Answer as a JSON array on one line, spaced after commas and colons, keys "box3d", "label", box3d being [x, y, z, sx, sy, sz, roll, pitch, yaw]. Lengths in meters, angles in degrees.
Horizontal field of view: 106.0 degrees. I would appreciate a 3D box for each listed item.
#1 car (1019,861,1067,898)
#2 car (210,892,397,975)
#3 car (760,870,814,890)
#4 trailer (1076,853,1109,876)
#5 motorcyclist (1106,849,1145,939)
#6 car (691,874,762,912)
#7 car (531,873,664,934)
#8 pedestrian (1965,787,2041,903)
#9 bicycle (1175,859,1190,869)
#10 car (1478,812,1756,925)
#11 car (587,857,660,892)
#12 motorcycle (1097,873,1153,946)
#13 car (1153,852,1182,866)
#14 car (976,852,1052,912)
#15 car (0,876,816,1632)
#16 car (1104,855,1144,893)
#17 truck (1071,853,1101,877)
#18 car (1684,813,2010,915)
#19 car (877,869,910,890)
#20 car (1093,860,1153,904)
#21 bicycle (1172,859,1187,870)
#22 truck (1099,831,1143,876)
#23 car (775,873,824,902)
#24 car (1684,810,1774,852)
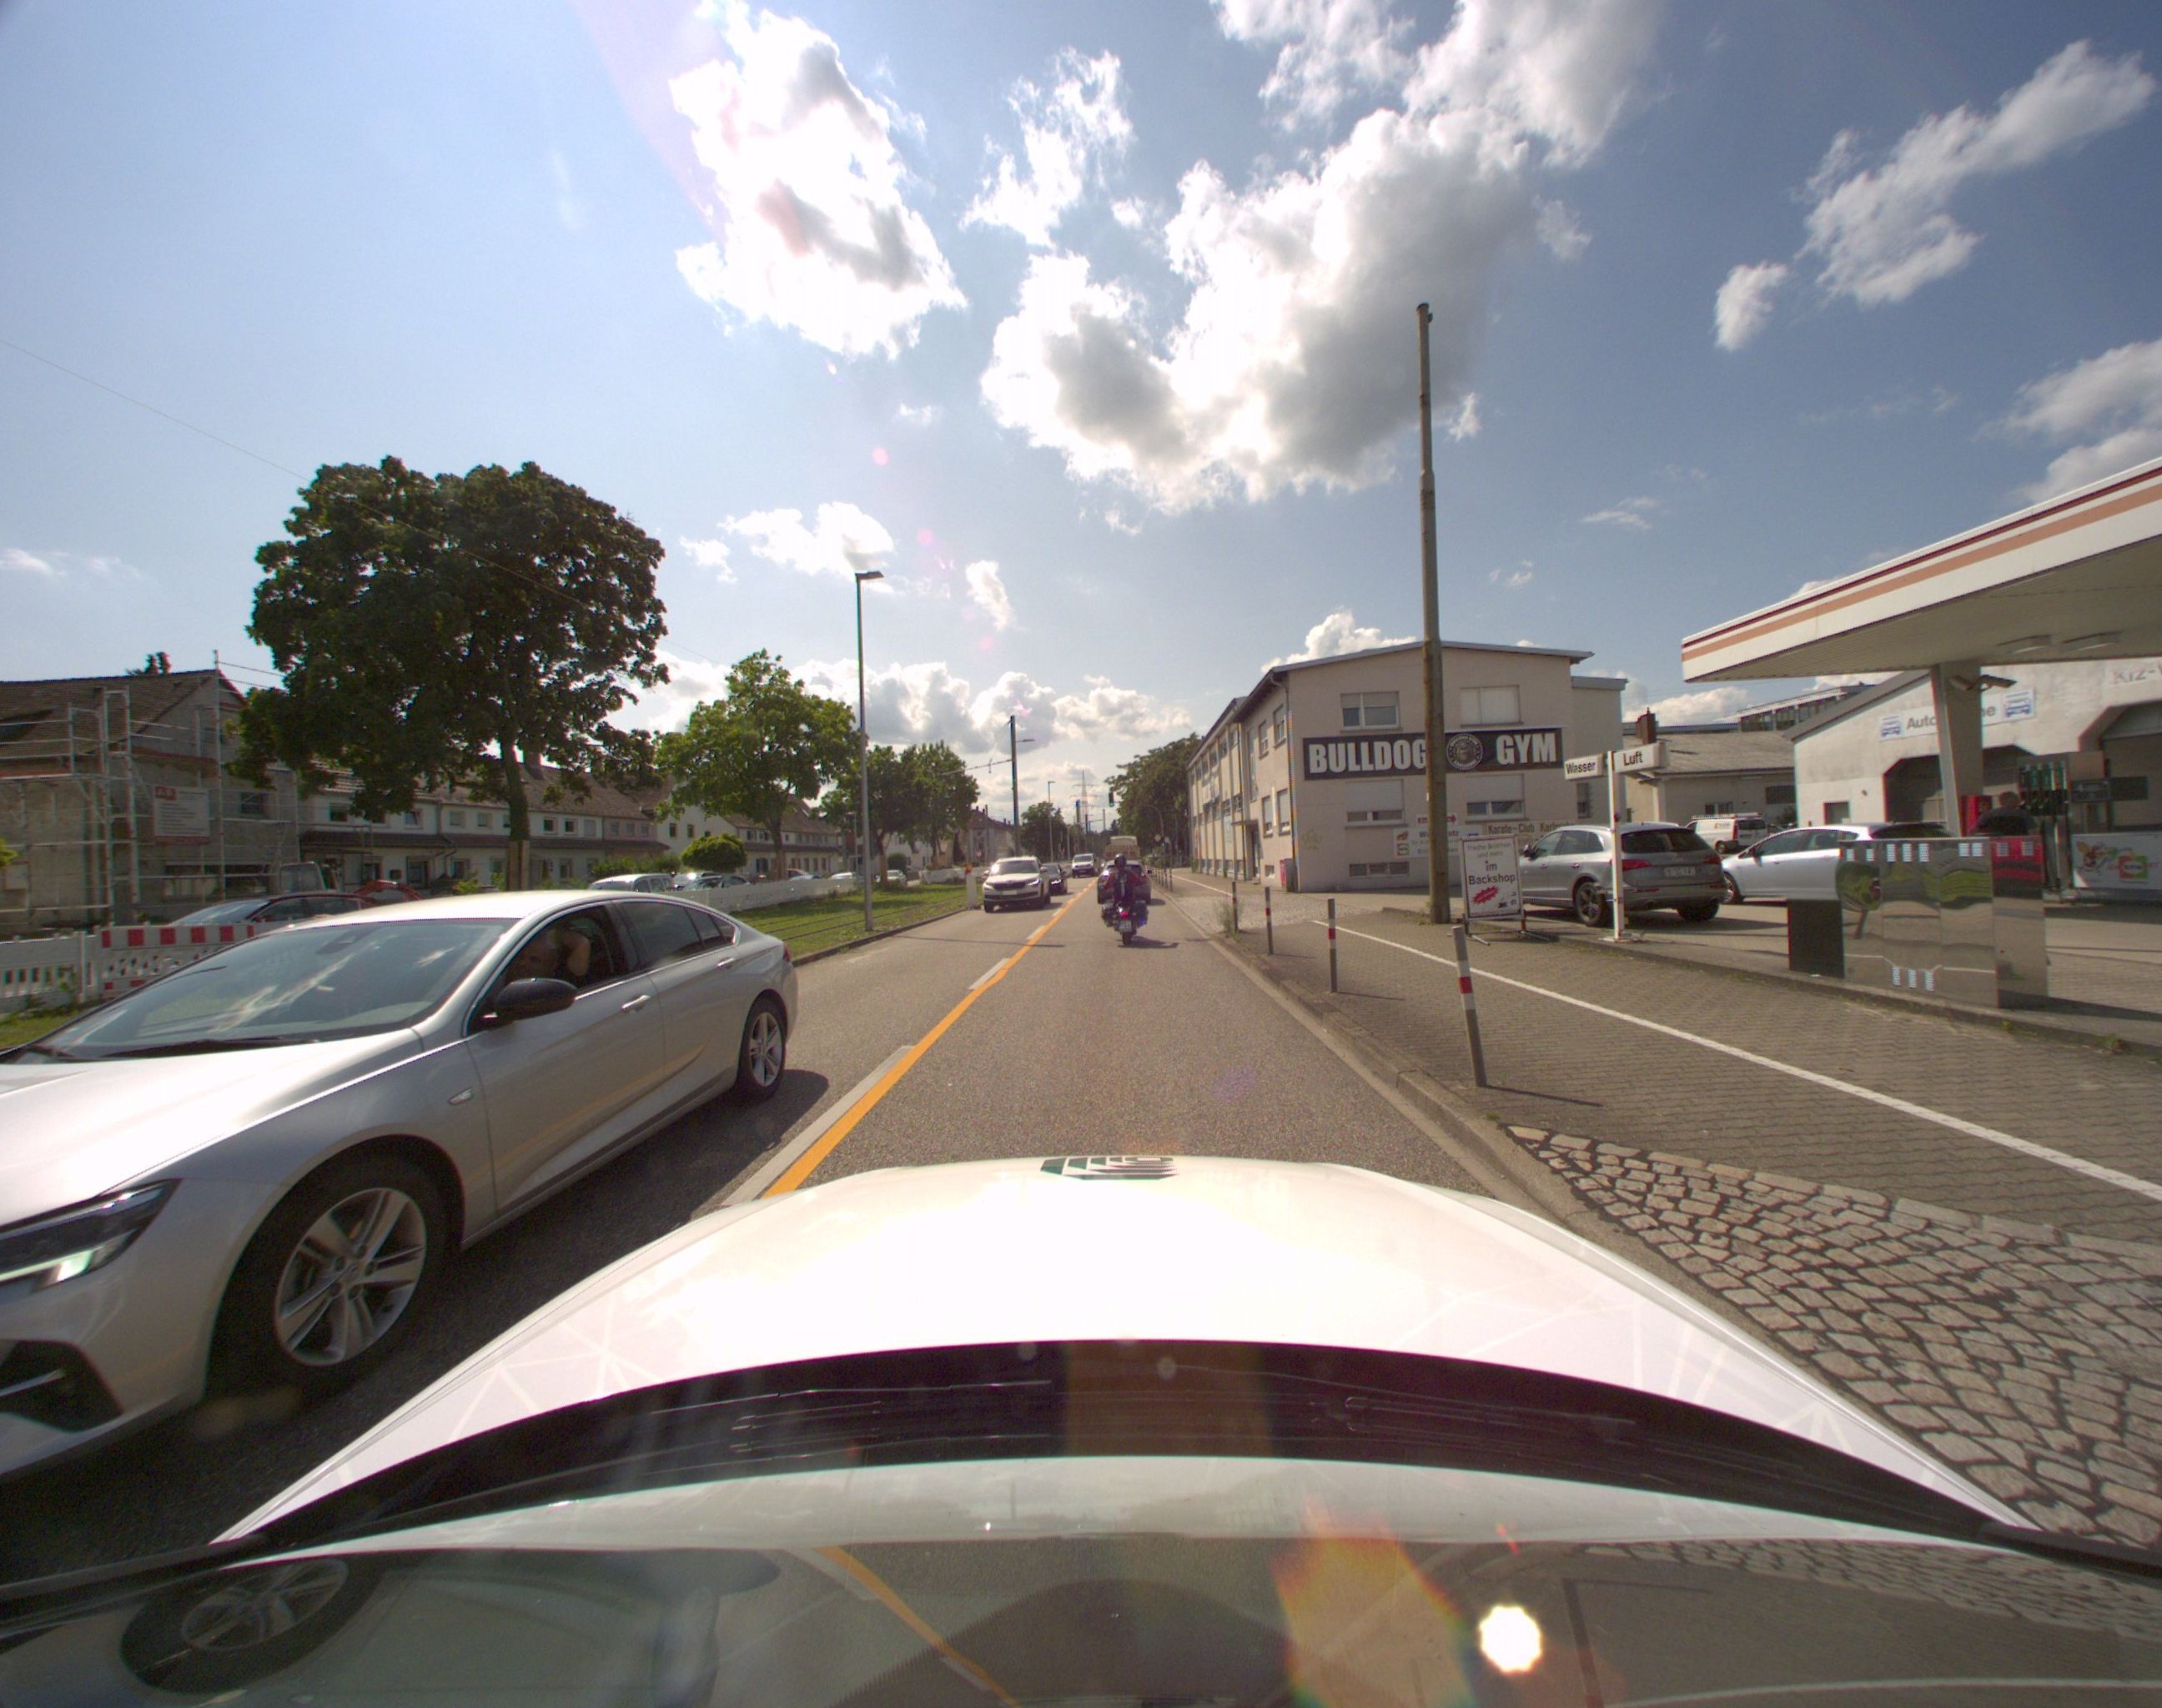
[{"box3d": [-1.650, 1.123, 36.540, 1.686, 1.412, 3.861, -6, -1, 2], "label": "car"}, {"box3d": [-14.955, 1.489, 15.802, 1.067, 1.348, 2.453, -4, -1, 6], "label": "car"}, {"box3d": [-25.204, 2.216, 69.897, 3.971, 1.509, 1.726, -3, 0, 1], "label": "car"}, {"box3d": [1.041, 0.949, 72.436, 2.050, 1.835, 5.498, -5, -1, 9], "label": "trailer"}, {"box3d": [0.817, 0.730, 14.965, 0.695, 1.604, 0.692, -1, -1, 2], "label": "motorcyclist"}, {"box3d": [-14.464, 1.553, 33.347, 1.344, 1.377, 3.116, -3, -1, 3], "label": "car"}, {"box3d": [-15.022, 1.477, 25.566, 1.616, 1.651, 3.901, -3, -1, 3], "label": "car"}, {"box3d": [14.533, -0.133, 12.845, 0.495, 1.776, 0.577, -1, -1, 0], "label": "pedestrian"}, {"box3d": [11.718, 1.184, 93.959, 1.698, 1.172, 0.439, -1, -1, 7], "label": "bicycle"}, {"box3d": [9.086, 0.233, 14.411, 1.938, 1.625, 4.617, -1, -1, 1], "label": "car"}, {"box3d": [-27.404, 1.212, 48.914, 1.986, 2.014, 4.002, -1, -1, 2], "label": "car"}, {"box3d": [0.821, 0.984, 15.195, 0.939, 1.200, 2.474, -1, 0, 3], "label": "motorcycle"}, {"box3d": [12.118, 0.745, 114.197, 4.022, 1.926, 1.781, 0, -1, -42], "label": "car"}, {"box3d": [-2.063, 0.866, 26.297, 1.817, 1.666, 4.464, -4, -1, 2], "label": "car"}, {"box3d": [-3.001, 0.903, 3.870, 1.814, 1.445, 4.485, -4, -1, 2], "label": "car"}, {"box3d": [2.288, 0.971, 42.213, 1.892, 1.712, 4.725, -3, 1, 4], "label": "car"}, {"box3d": [0.439, 0.890, 68.084, 1.809, 1.909, 5.128, -1, 0, 8], "label": "truck"}, {"box3d": [13.434, 0.190, 14.754, 1.686, 1.471, 4.422, -3, -1, 0], "label": "car"}, {"box3d": [-14.022, 1.886, 61.045, 1.537, 1.376, 4.247, -5, 0, -3], "label": "car"}, {"box3d": [1.376, 0.919, 28.046, 1.727, 1.403, 4.083, 0, 0, -2], "label": "car"}, {"box3d": [11.494, 1.238, 94.980, 1.698, 1.172, 0.439, -1, -1, 7], "label": "bicycle"}, {"box3d": [3.139, 0.000, 62.049, 2.953, 3.173, 7.775, -1, -1, 5], "label": "truck"}, {"box3d": [-14.512, 1.727, 42.164, 1.335, 1.325, 3.170, -3, 0, 0], "label": "car"}, {"box3d": [33.824, -1.141, 42.640, 1.780, 2.032, 3.847, -1, -1, 3], "label": "car"}]
